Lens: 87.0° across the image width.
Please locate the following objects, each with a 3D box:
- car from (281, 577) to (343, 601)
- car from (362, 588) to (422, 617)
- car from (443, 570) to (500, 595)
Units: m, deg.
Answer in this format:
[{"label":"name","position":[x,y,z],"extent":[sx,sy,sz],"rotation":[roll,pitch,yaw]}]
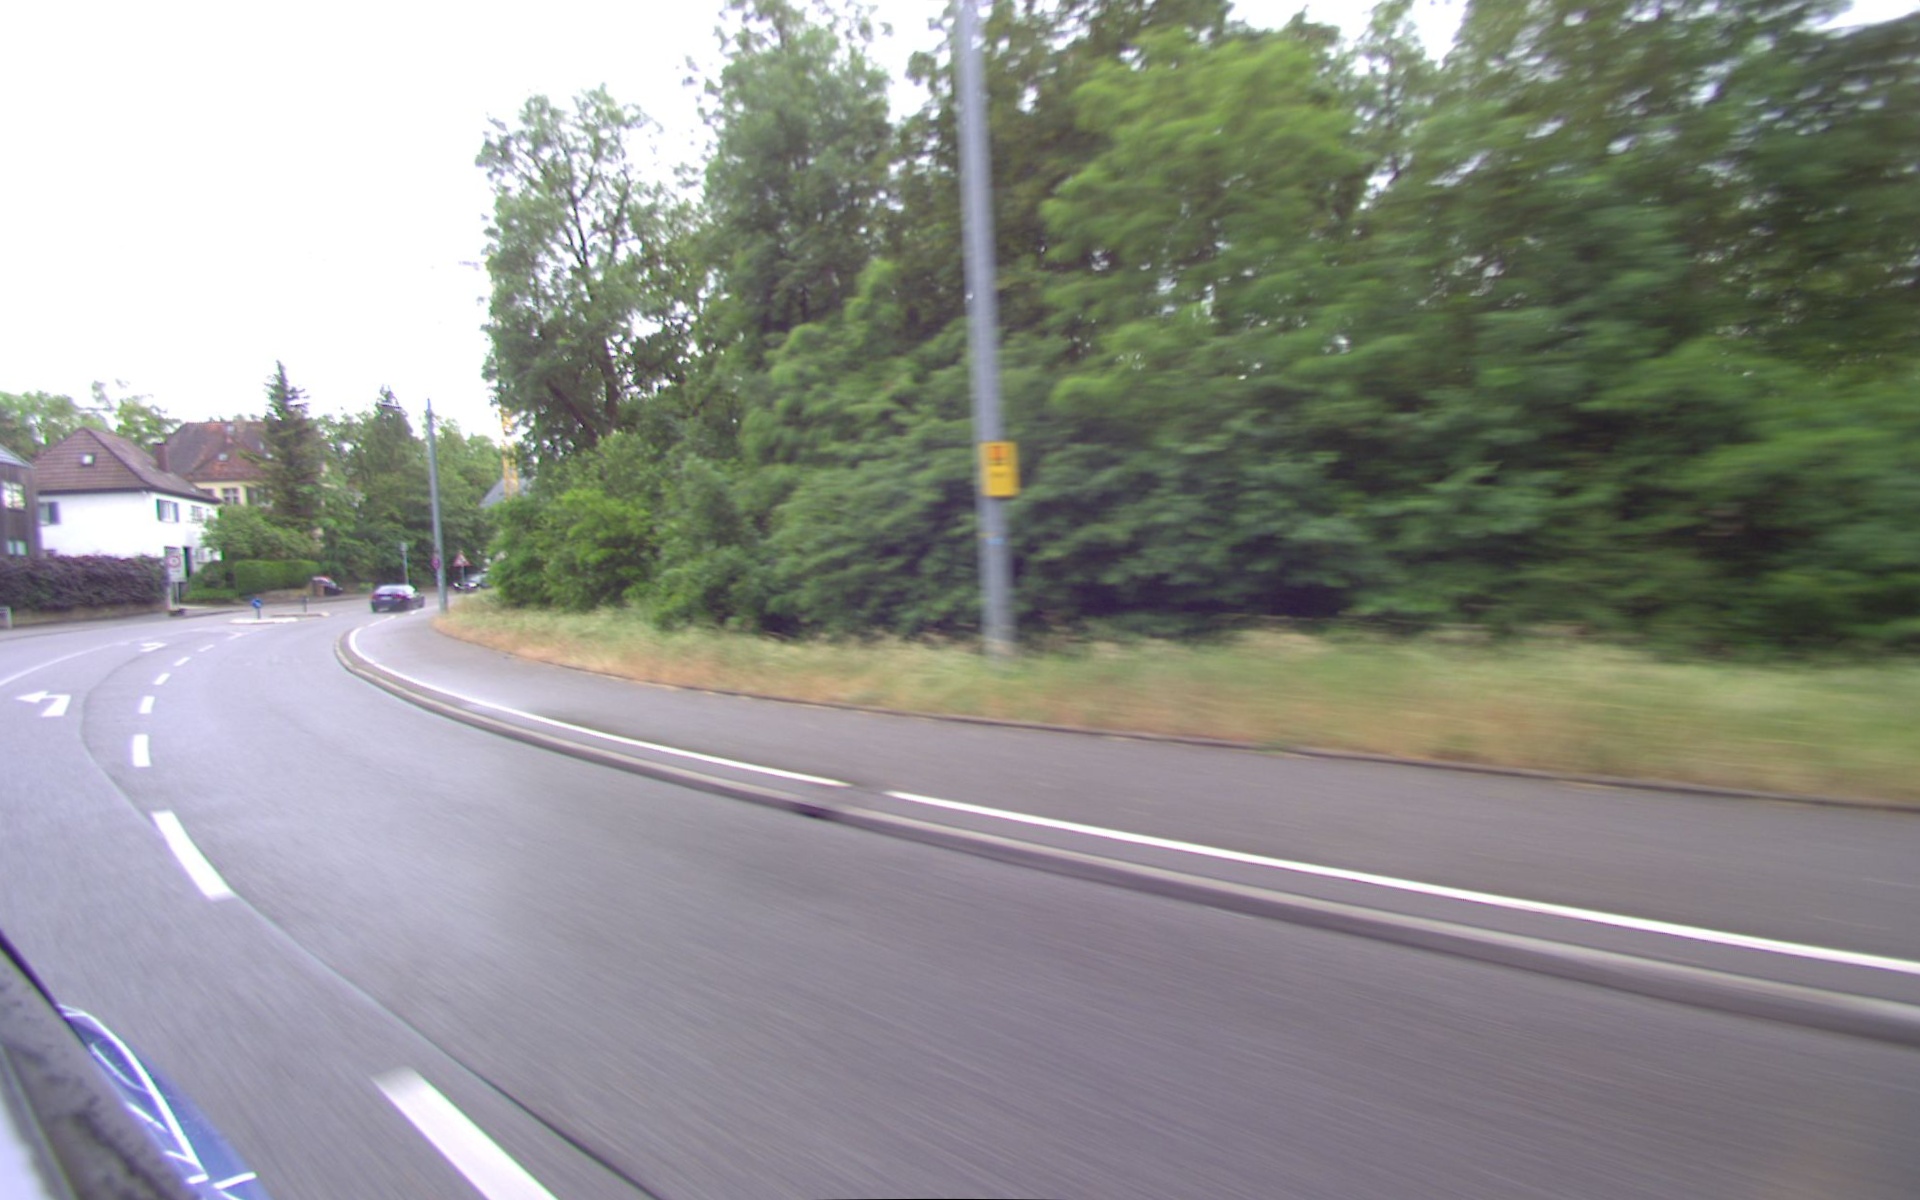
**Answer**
[{"label":"car","position":[-47.460,-0.785,74.180],"extent":[3.433,1.422,1.430],"rotation":[-5,3,-9]},{"label":"car","position":[-32.061,0.099,57.259],"extent":[1.821,1.512,4.644],"rotation":[1,1,-15]},{"label":"car","position":[-38.707,-1.424,80.279],"extent":[1.981,1.729,3.983],"rotation":[-2,3,14]}]
